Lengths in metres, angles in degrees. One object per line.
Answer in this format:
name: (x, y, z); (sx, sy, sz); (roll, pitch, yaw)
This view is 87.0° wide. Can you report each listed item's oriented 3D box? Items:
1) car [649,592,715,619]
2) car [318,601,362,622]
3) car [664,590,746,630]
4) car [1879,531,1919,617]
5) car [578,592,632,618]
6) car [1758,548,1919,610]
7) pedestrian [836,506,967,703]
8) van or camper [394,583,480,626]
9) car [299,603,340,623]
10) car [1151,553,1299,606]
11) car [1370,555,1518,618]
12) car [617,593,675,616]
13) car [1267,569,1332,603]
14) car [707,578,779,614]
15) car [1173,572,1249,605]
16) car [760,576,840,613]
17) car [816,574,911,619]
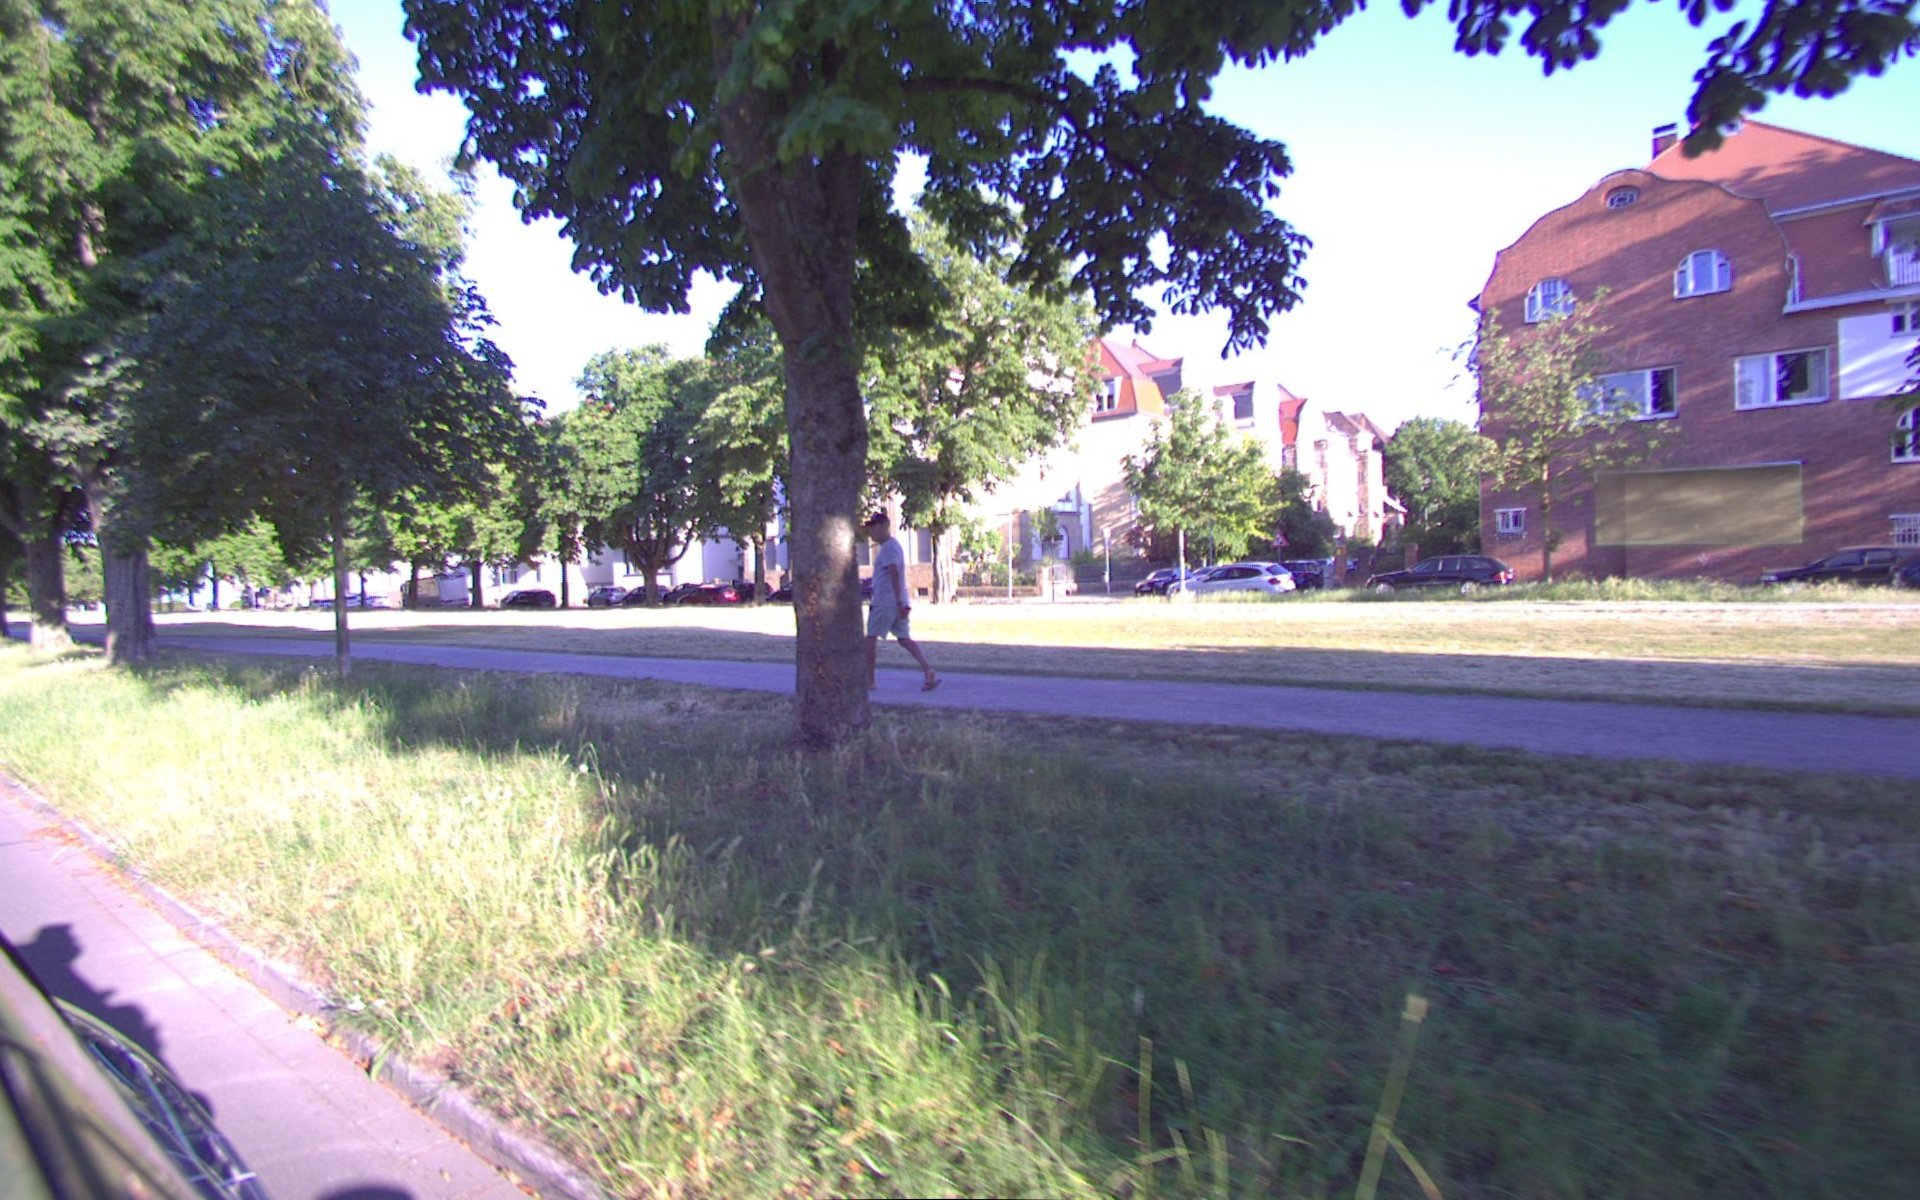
car: (-18.393, 0.351, 66.829); (4.424, 1.665, 1.974); (-1, 1, 39)
car: (-56.226, 1.053, 91.736); (4.873, 1.703, 1.973); (-1, 1, 41)
car: (-14.045, 0.568, 55.640); (4.875, 2.028, 1.972); (-1, 1, 42)
car: (24.180, -0.690, 22.648); (5.244, 1.955, 1.973); (-2, 1, 42)
car: (-25.661, 0.363, 73.092); (3.999, 1.747, 1.972); (-2, 1, 42)
car: (25.829, -0.607, 29.190); (4.303, 1.635, 1.739); (-2, 1, 41)
pedestrian: (-0.567, 0.036, 9.671); (0.716, 1.771, 0.994); (-3, 1, -43)
van or camper: (-40.954, 0.383, 79.083); (7.892, 3.134, 3.221); (-1, 1, 41)
car: (-60.502, 1.225, 95.569); (4.873, 1.703, 1.973); (-1, 1, 41)
car: (9.212, -0.700, 35.428); (4.647, 1.651, 1.801); (-1, 1, 40)
car: (17.014, -0.448, 35.704); (4.366, 2.029, 1.739); (-2, 1, 41)
car: (-21.760, 0.346, 70.092); (4.168, 1.440, 1.972); (-1, 2, 42)
car: (17.374, -0.737, 51.677); (1.834, 1.585, 3.858); (-1, 1, 40)
car: (-13.432, -0.241, 62.626); (4.424, 2.028, 1.974); (-1, 1, 39)
car: (14.127, -0.677, 56.835); (2.188, 1.619, 4.805); (-1, 2, 41)
car: (-9.344, -0.291, 58.882); (4.875, 2.028, 1.972); (-1, 1, 42)
car: (-5.271, -0.143, 55.310); (4.994, 1.763, 1.977); (-5, -12, 34)
